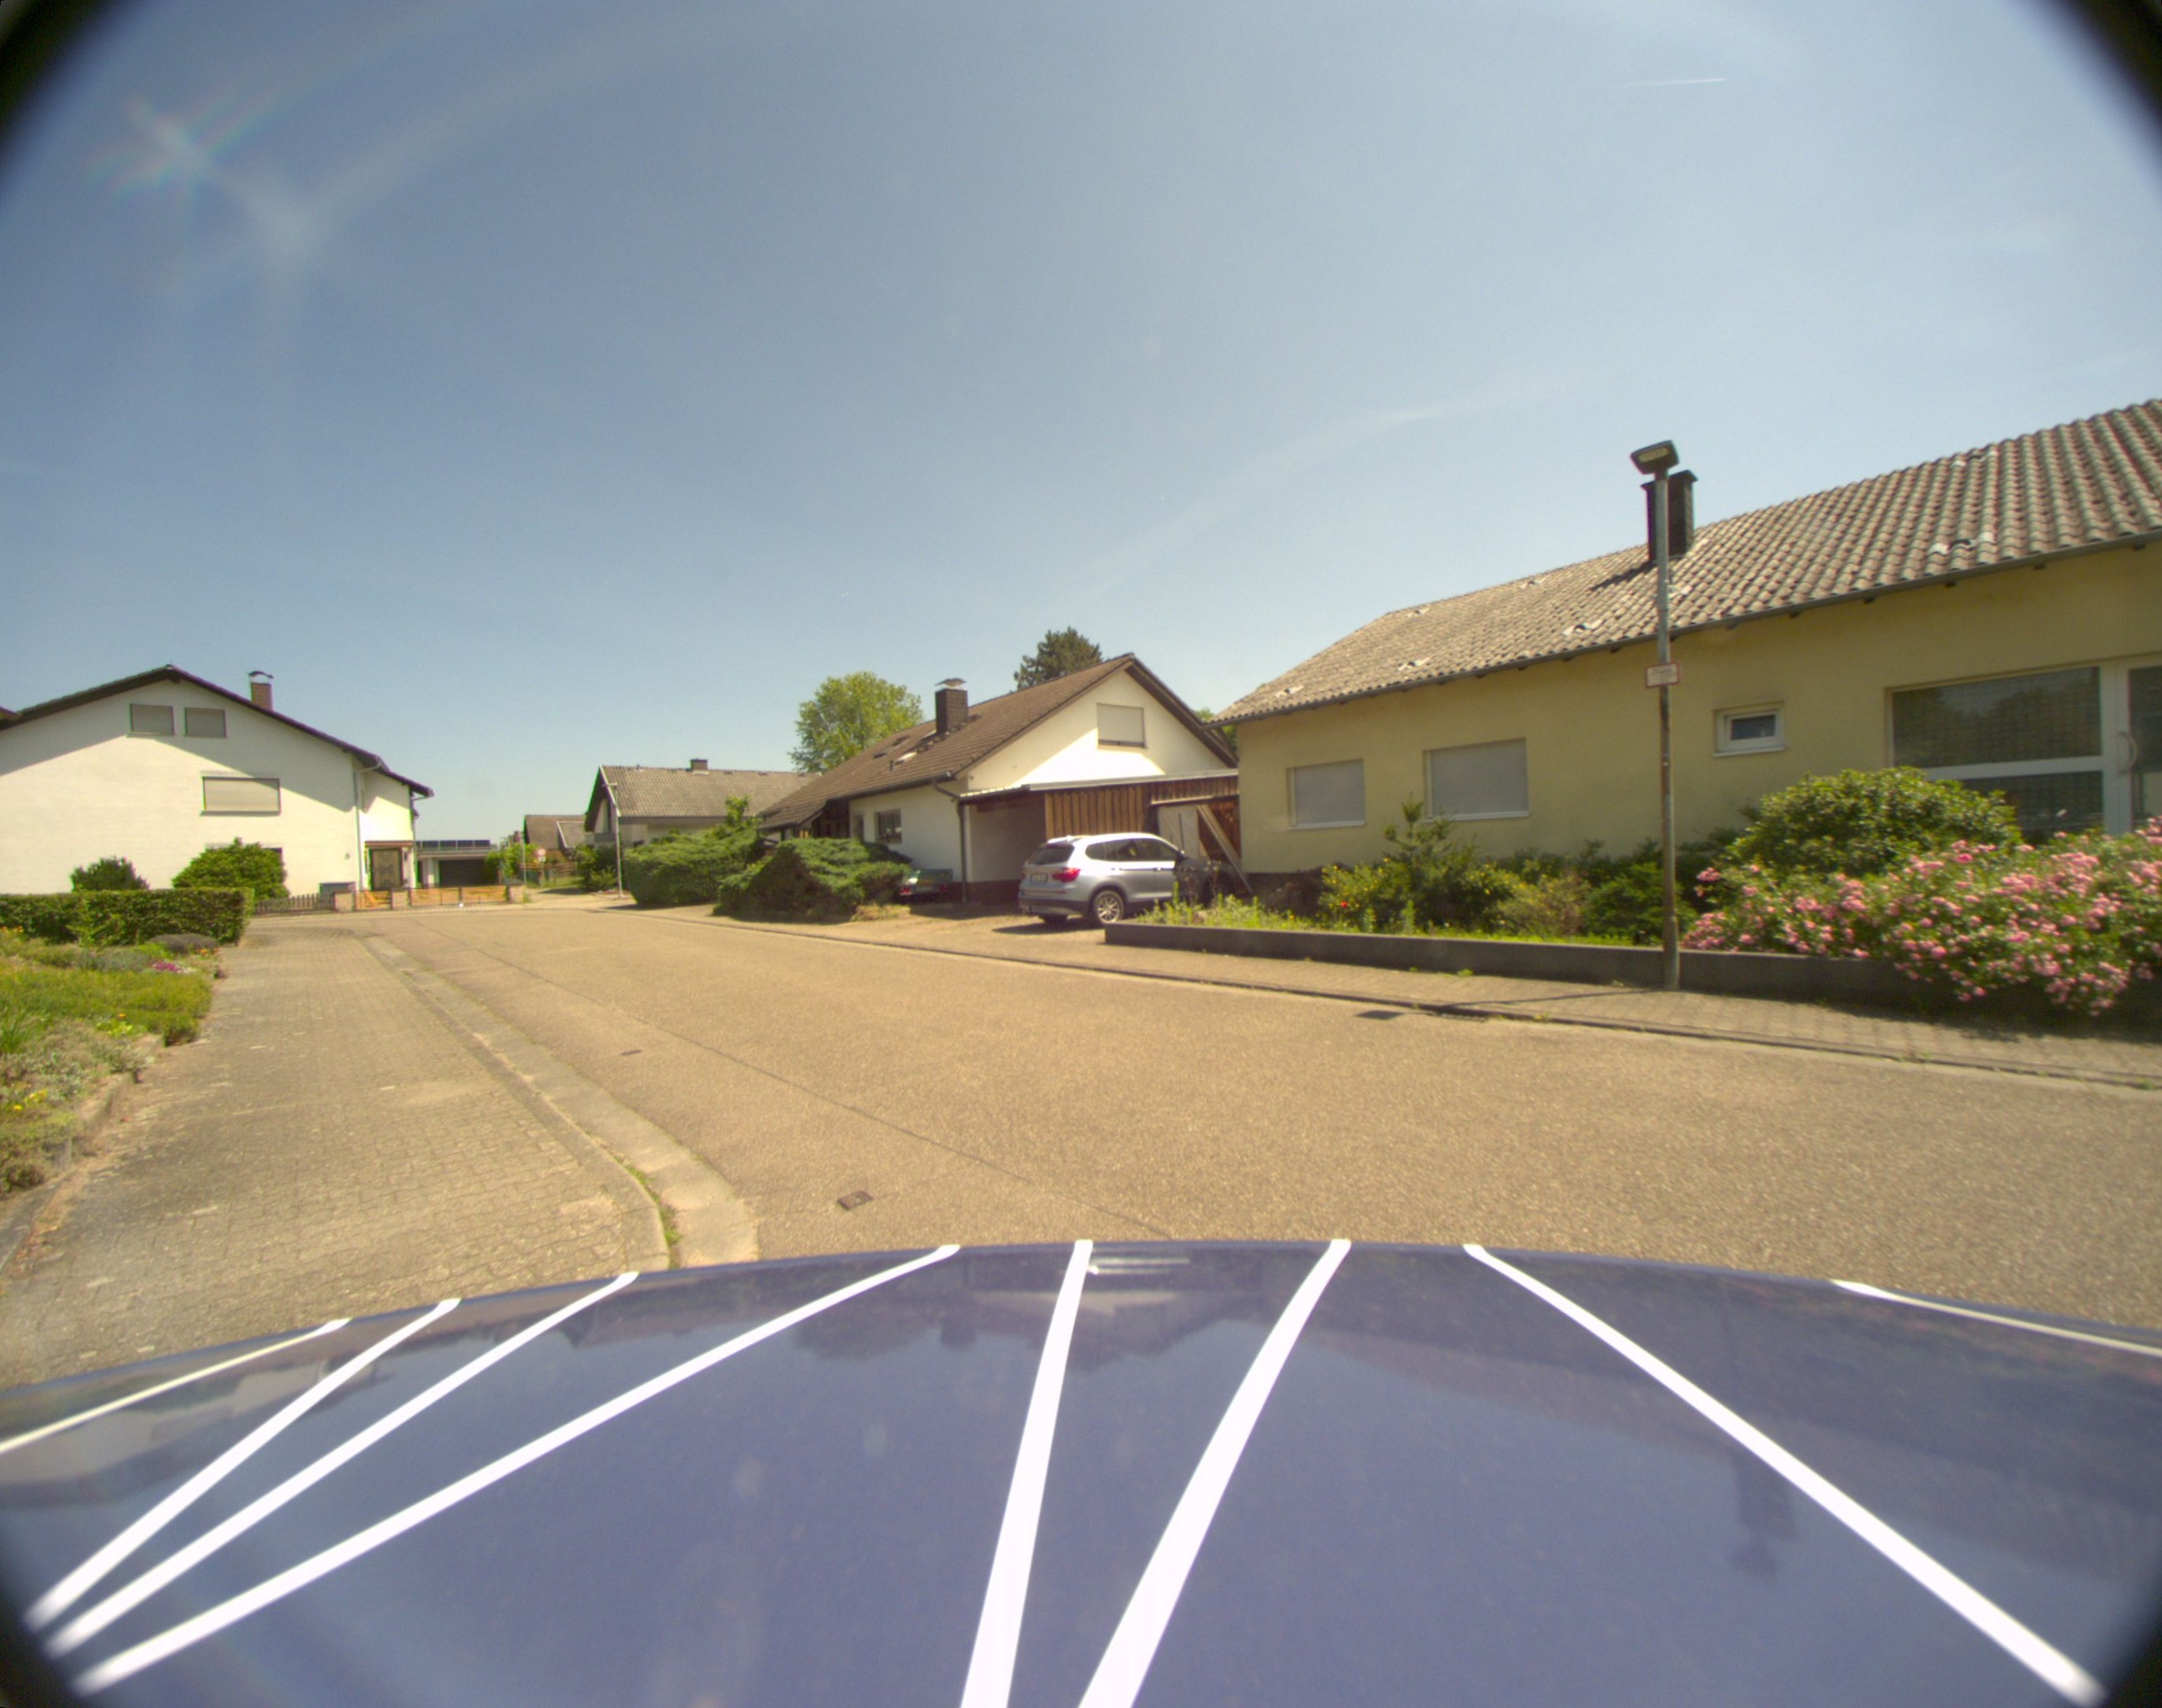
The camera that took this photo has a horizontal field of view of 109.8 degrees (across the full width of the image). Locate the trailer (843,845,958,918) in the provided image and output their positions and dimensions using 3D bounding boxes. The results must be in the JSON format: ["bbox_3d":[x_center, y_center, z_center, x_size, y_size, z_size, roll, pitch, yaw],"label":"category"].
[{"bbox_3d":[-4.796,0.657,19.932,1.595,1.663,3.287,-5,3,-39],"label":"trailer"}]

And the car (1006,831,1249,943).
[{"bbox_3d":[1.022,0.532,14.891,4.649,1.692,1.705,-5,2,-36],"label":"car"}]
